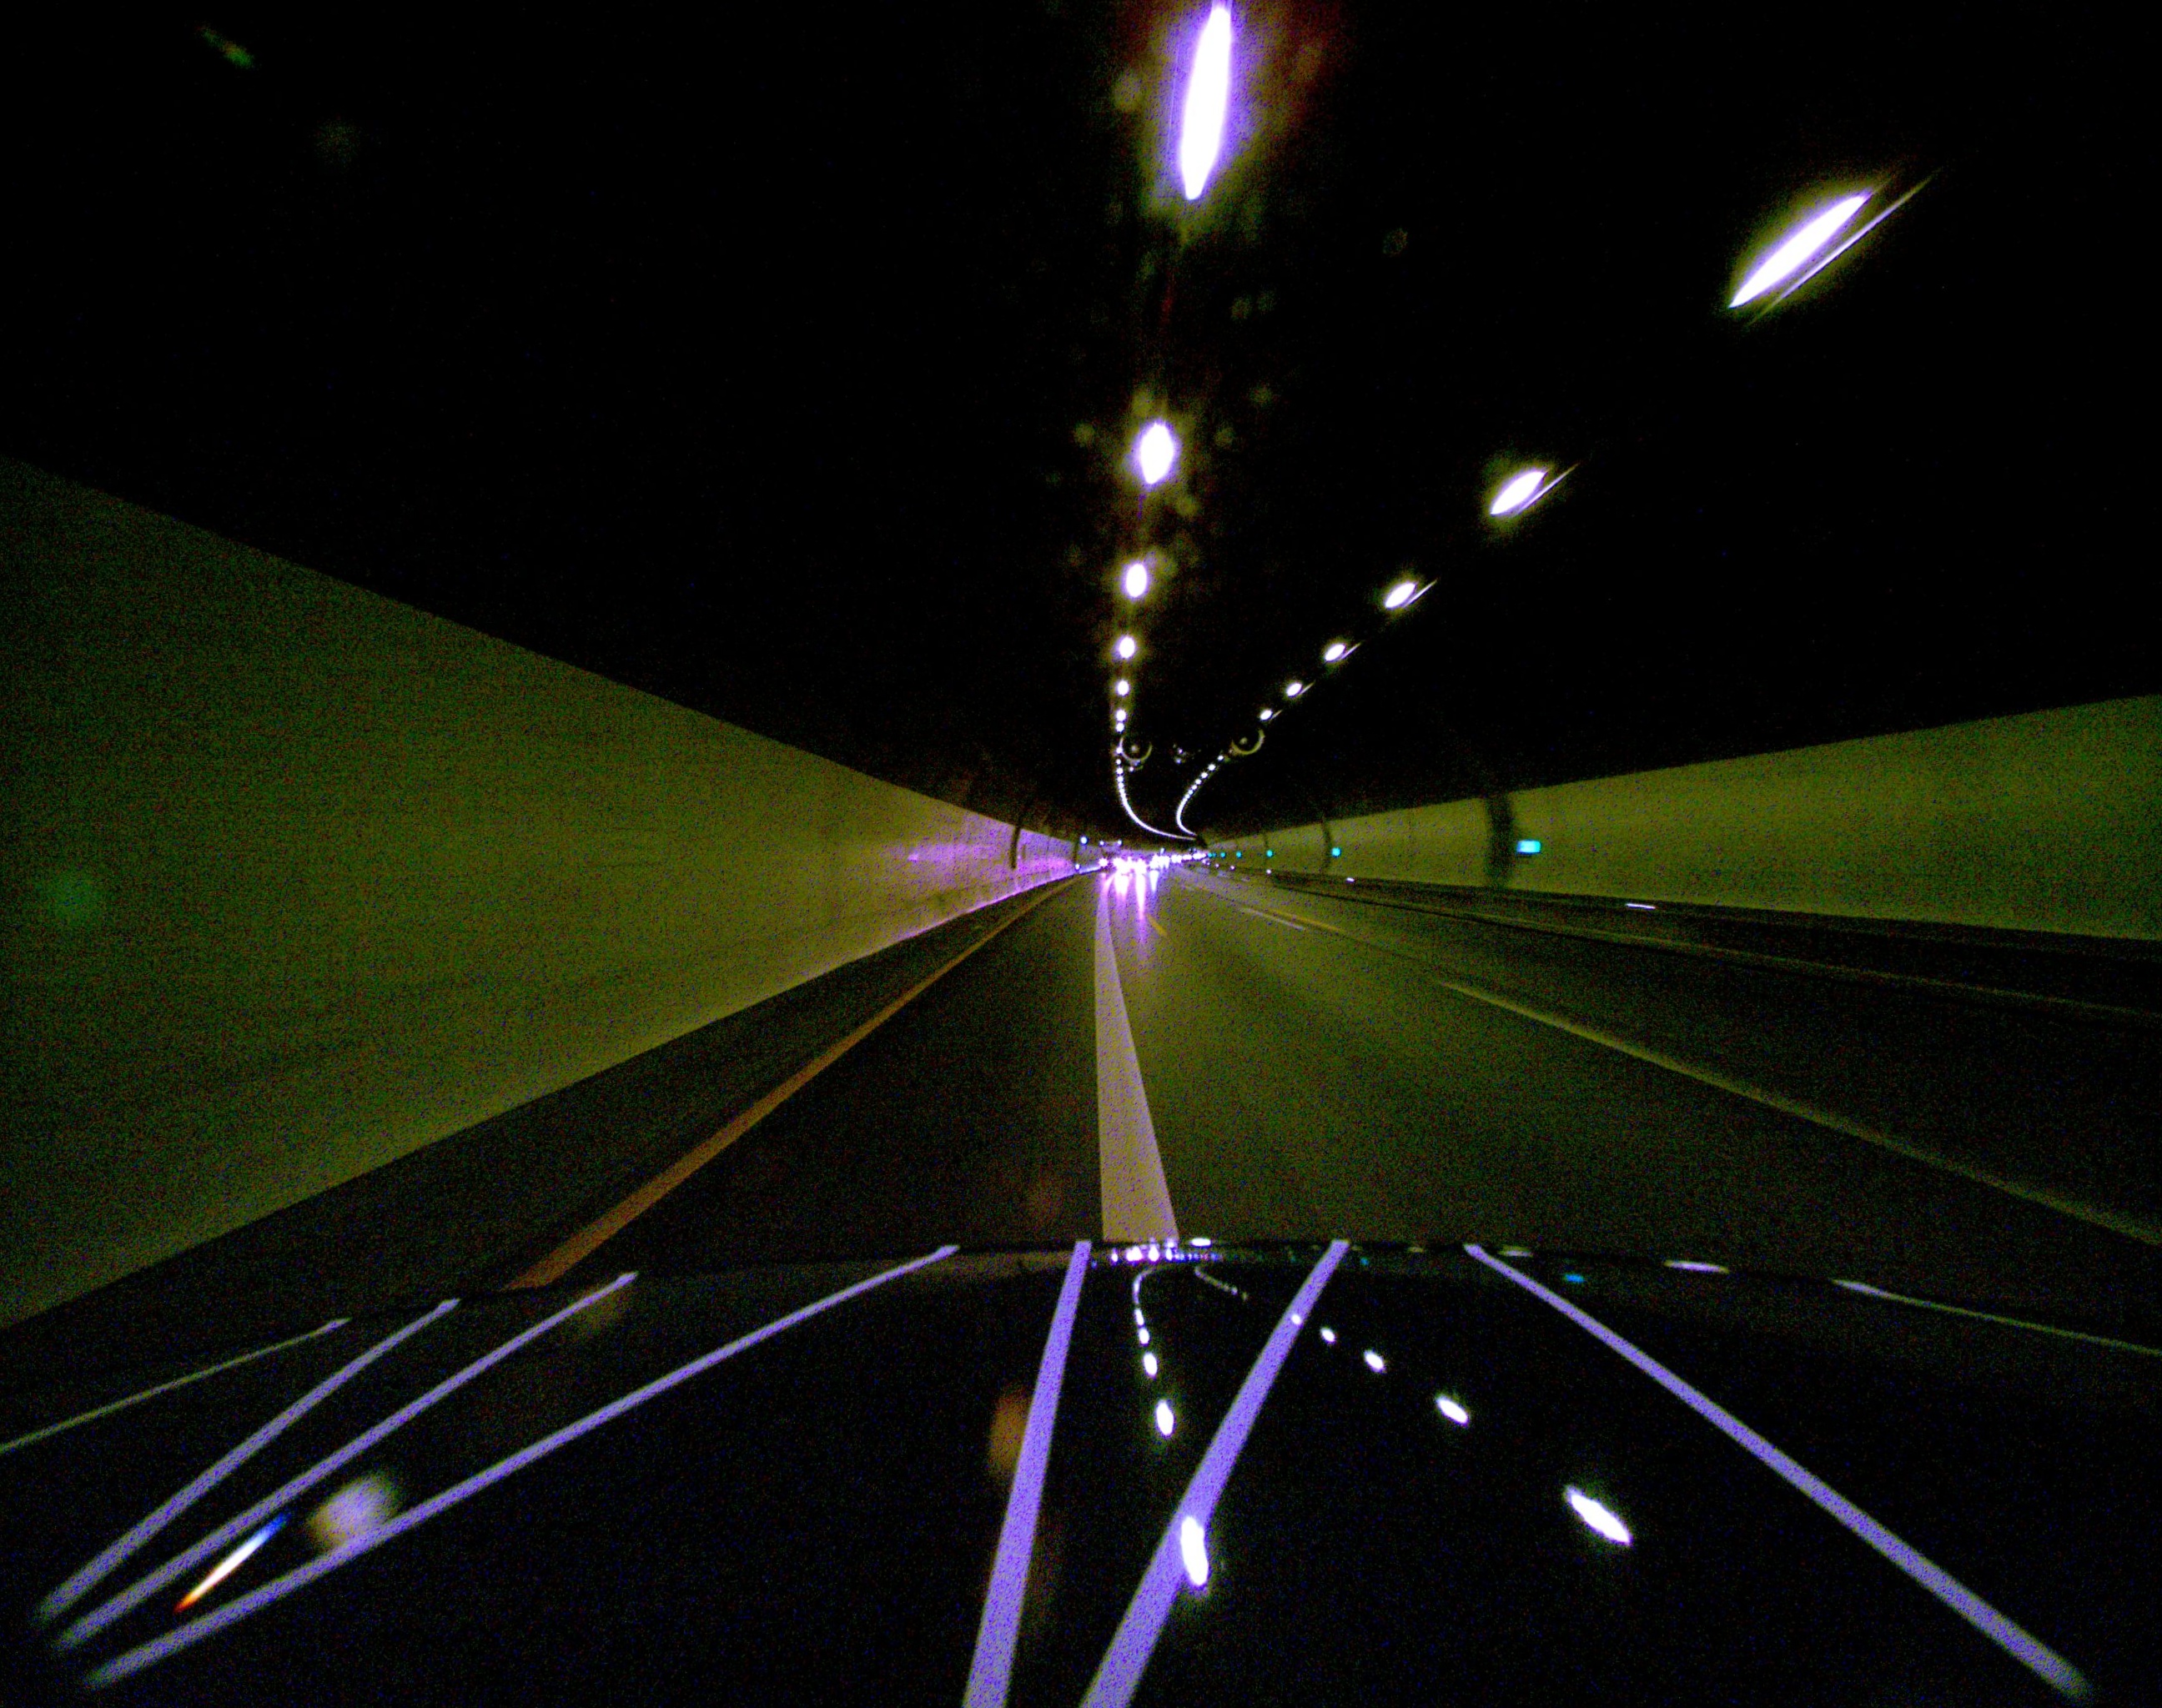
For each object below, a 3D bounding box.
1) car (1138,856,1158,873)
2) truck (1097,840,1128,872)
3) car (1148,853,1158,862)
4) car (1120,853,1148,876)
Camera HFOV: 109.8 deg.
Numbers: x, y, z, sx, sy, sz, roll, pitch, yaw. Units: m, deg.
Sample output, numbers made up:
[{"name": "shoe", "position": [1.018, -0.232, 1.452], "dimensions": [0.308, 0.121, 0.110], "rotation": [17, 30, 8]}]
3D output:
[{"name": "car", "position": [7.156, 1.118, 81.627], "dimensions": [1.998, 1.655, 4.001], "rotation": [-3, 1, 5]}, {"name": "truck", "position": [3.466, 0.170, 82.513], "dimensions": [2.988, 3.161, 10.510], "rotation": [-2, 0, 3]}, {"name": "car", "position": [17.153, 0.834, 180.113], "dimensions": [1.997, 1.917, 4.388], "rotation": [-2, 0, 10]}, {"name": "car", "position": [4.416, 0.810, 62.554], "dimensions": [2.171, 1.709, 4.483], "rotation": [-2, 0, 5]}]
